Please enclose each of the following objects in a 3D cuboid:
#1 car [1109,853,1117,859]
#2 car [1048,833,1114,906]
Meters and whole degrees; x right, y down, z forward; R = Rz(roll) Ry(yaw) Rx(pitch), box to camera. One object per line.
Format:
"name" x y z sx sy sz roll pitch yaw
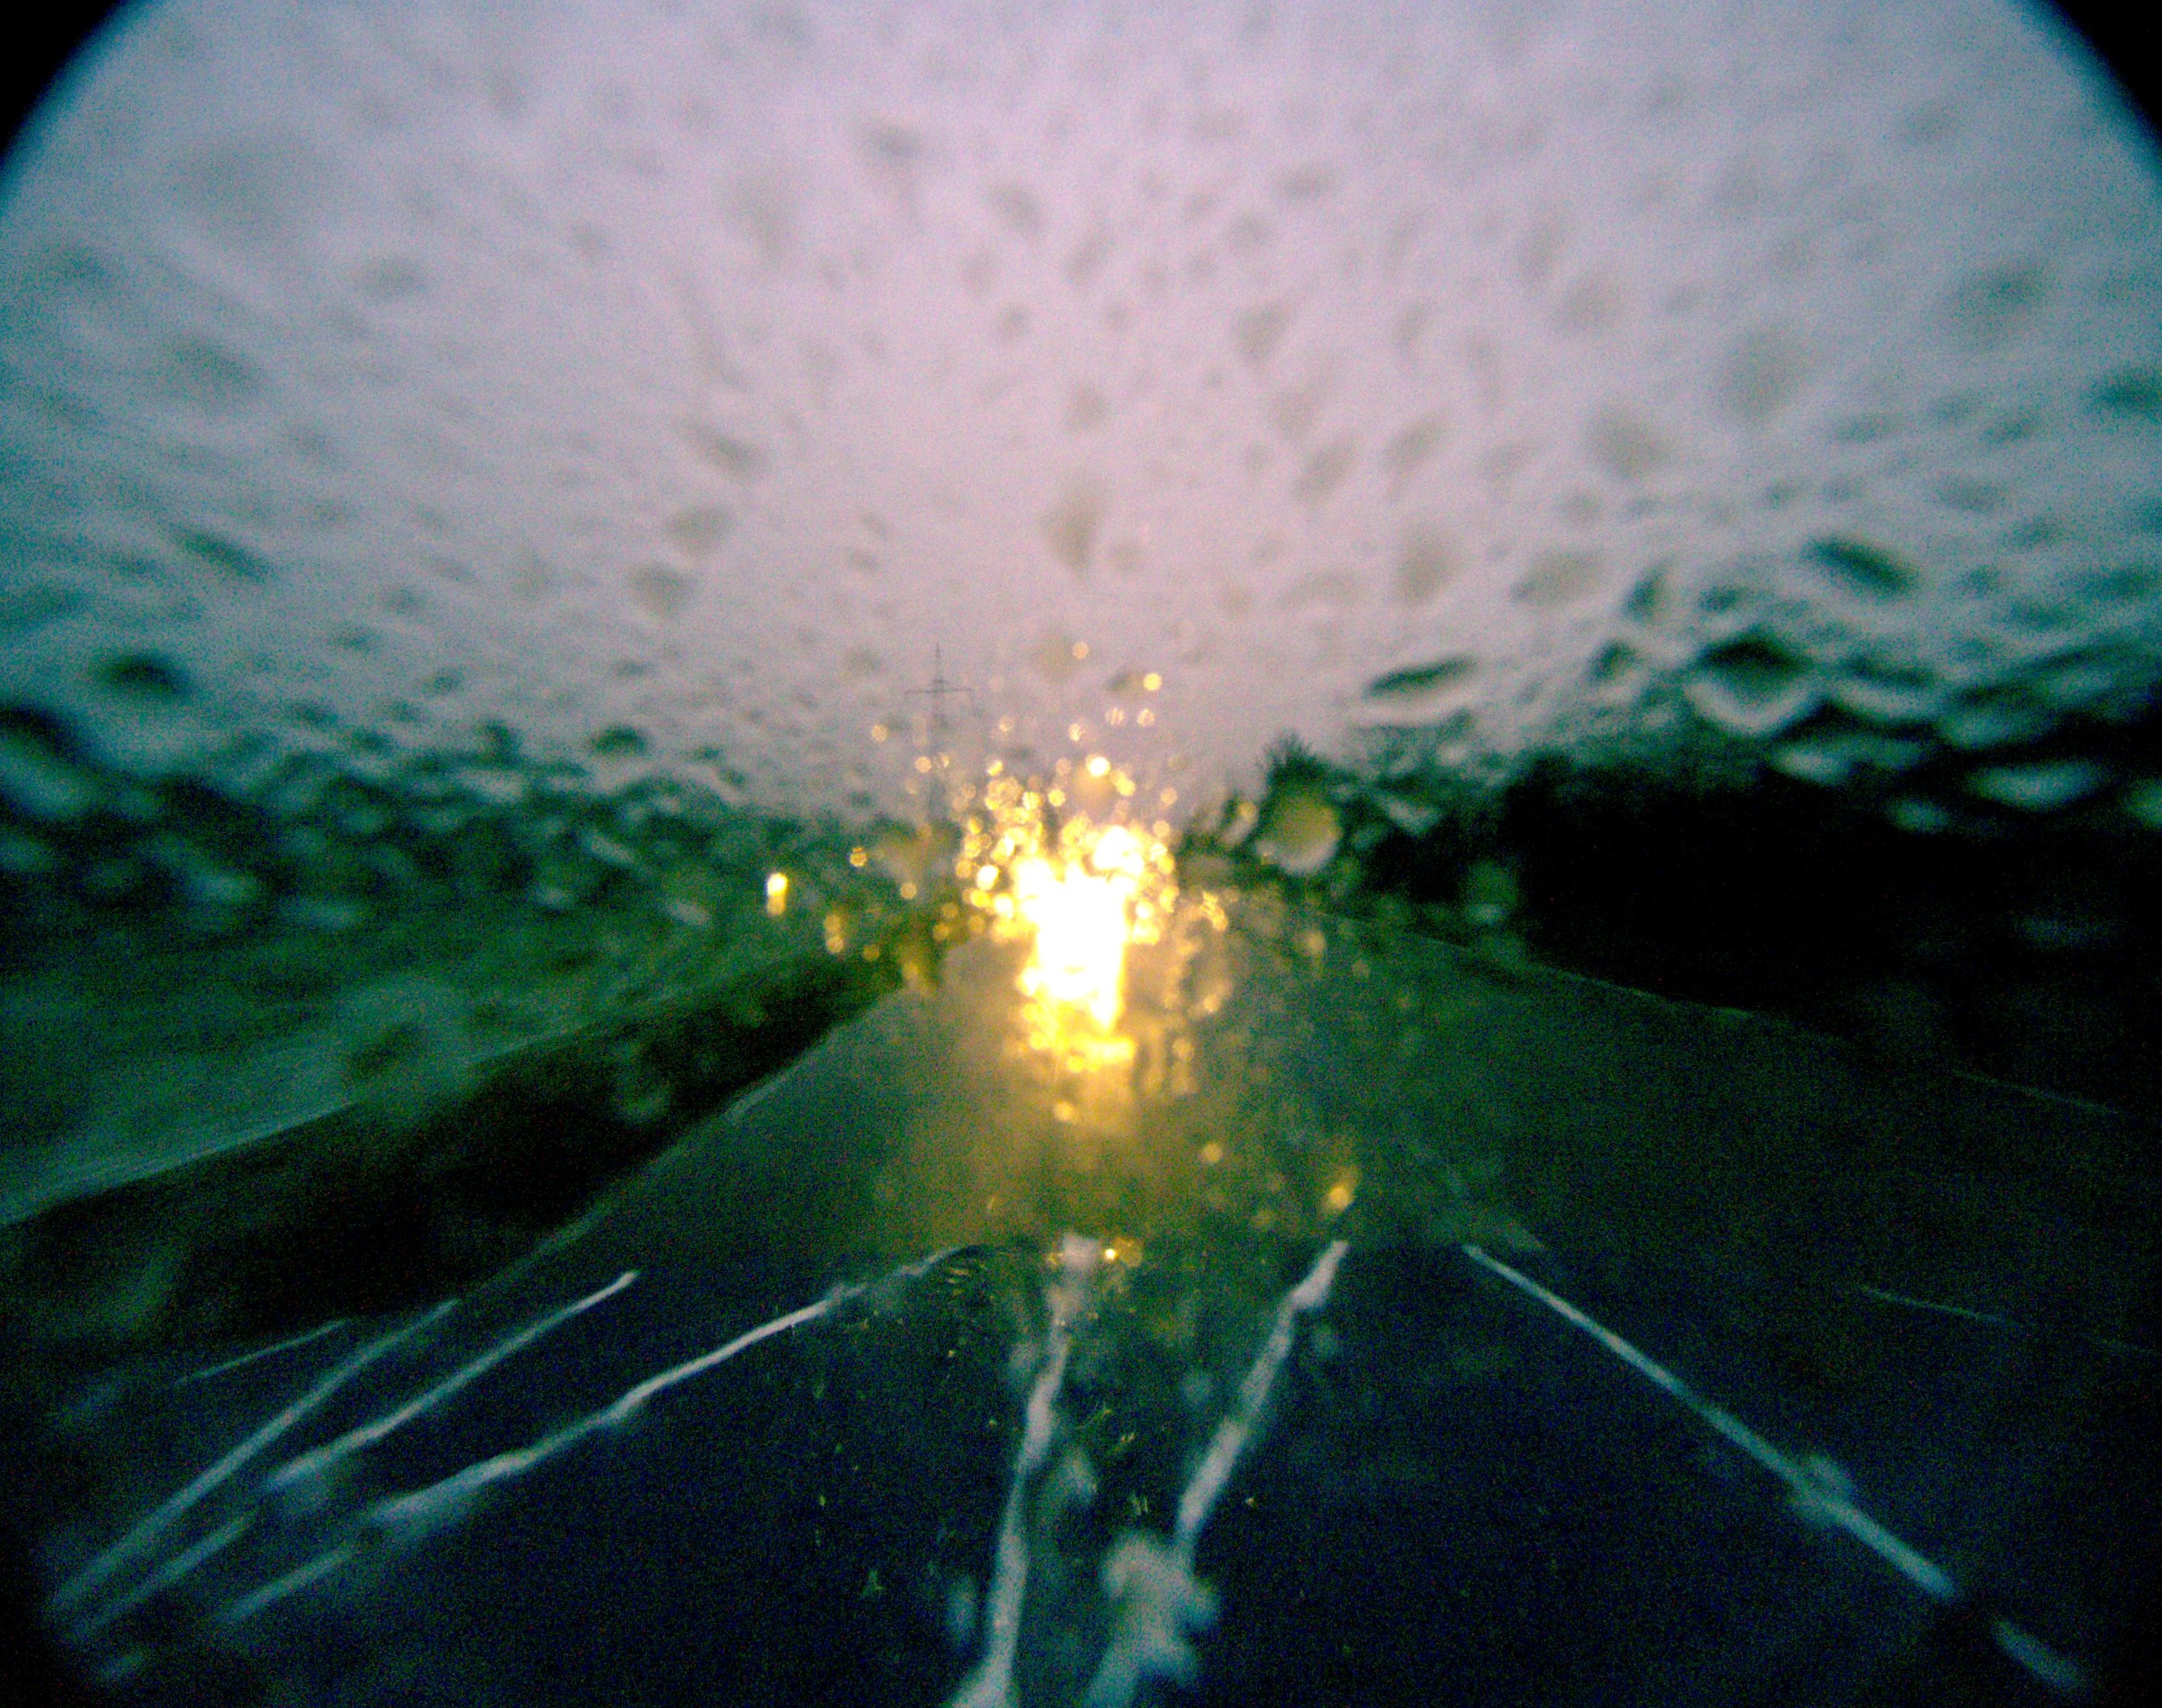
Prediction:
"car" 8.210 0.476 193.213 1.912 1.549 3.929 -2 1 3
"car" 0.081 0.452 25.855 1.953 2.195 4.535 -2 1 2
